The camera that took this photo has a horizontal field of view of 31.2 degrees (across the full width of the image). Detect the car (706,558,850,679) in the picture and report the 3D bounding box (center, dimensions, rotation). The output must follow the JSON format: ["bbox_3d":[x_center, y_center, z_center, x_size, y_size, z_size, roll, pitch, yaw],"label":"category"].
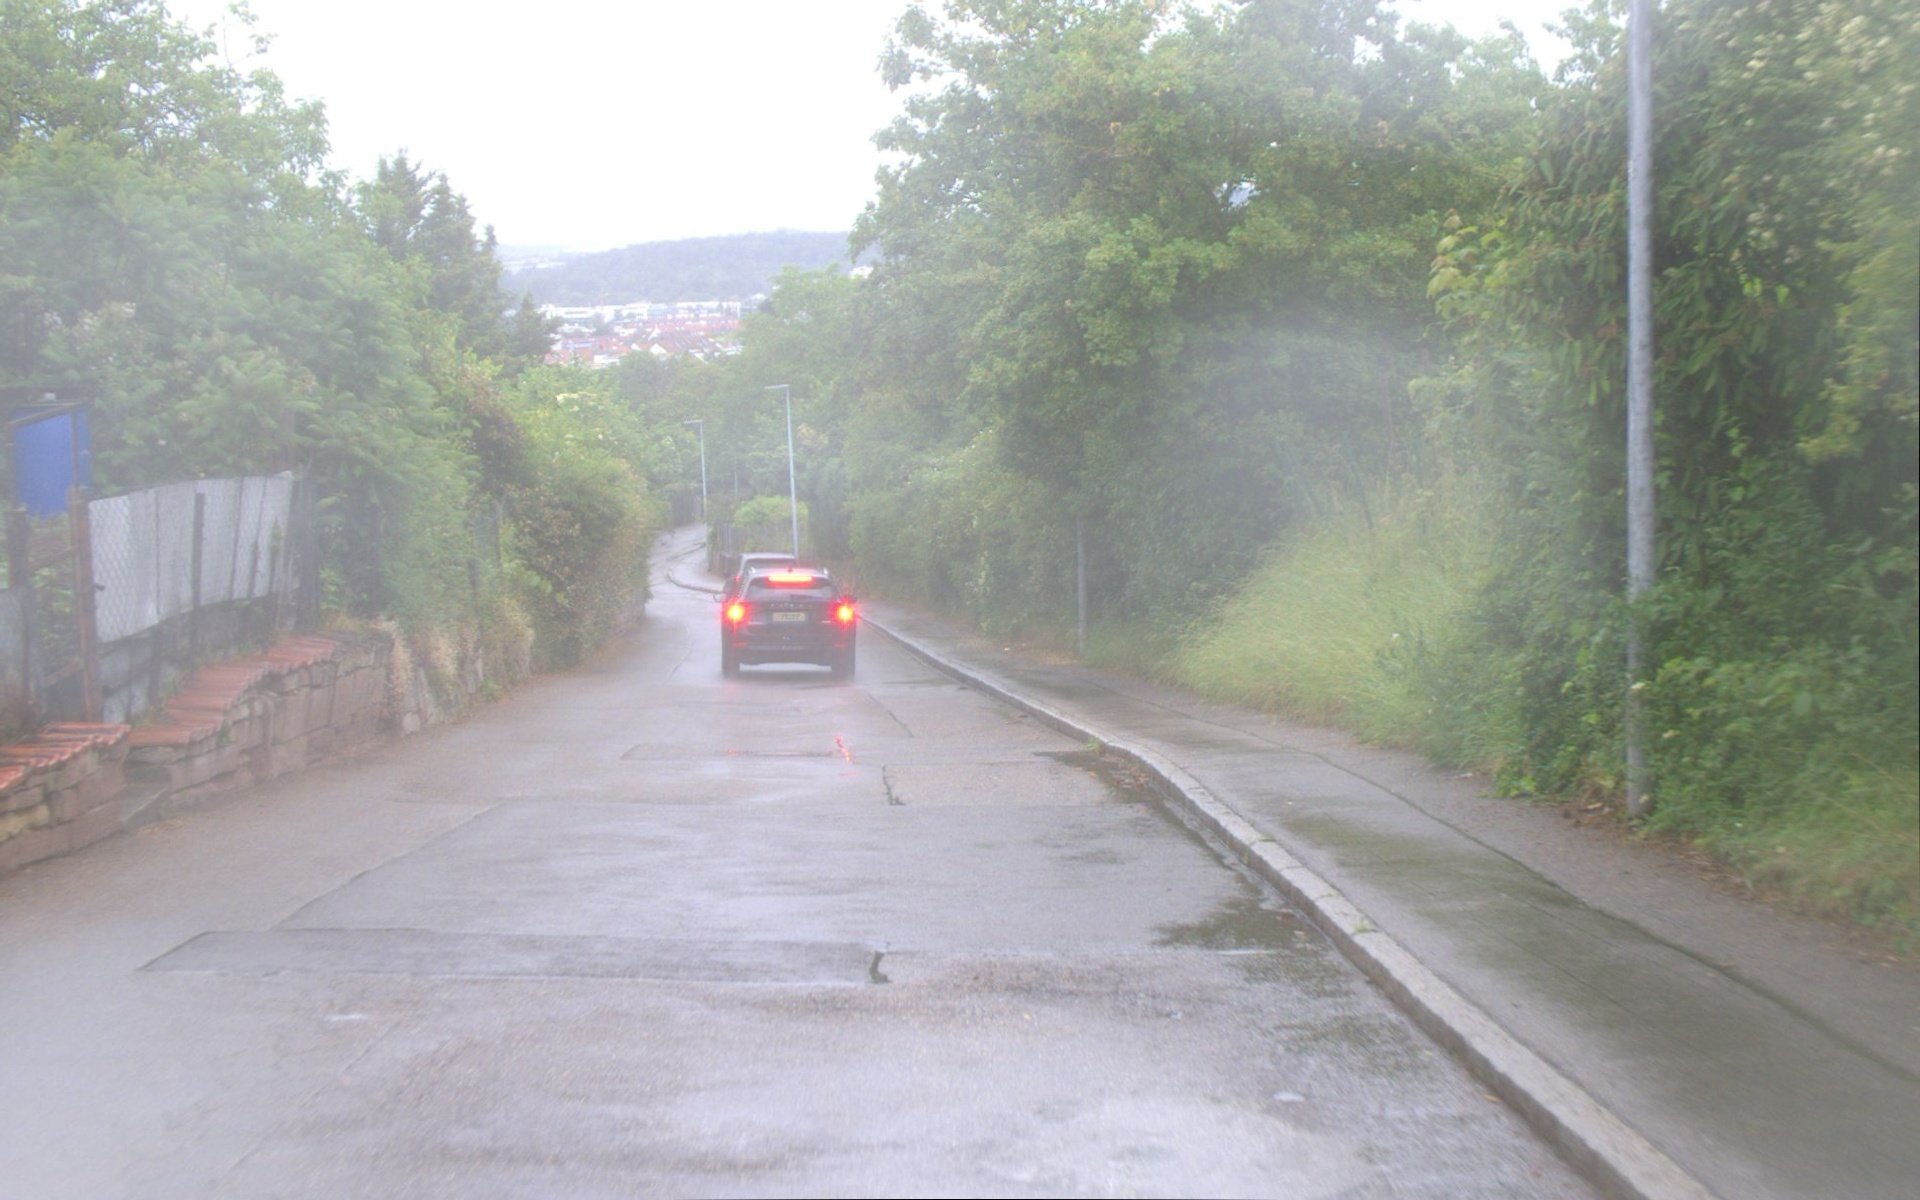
[{"bbox_3d":[-2.455,0.216,46.423,1.834,1.459,4.001,1,2,-3],"label":"car"}]

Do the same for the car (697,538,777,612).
[{"bbox_3d":[-5.125,-0.591,79.402,1.678,1.559,3.795,0,3,-1],"label":"car"}]
